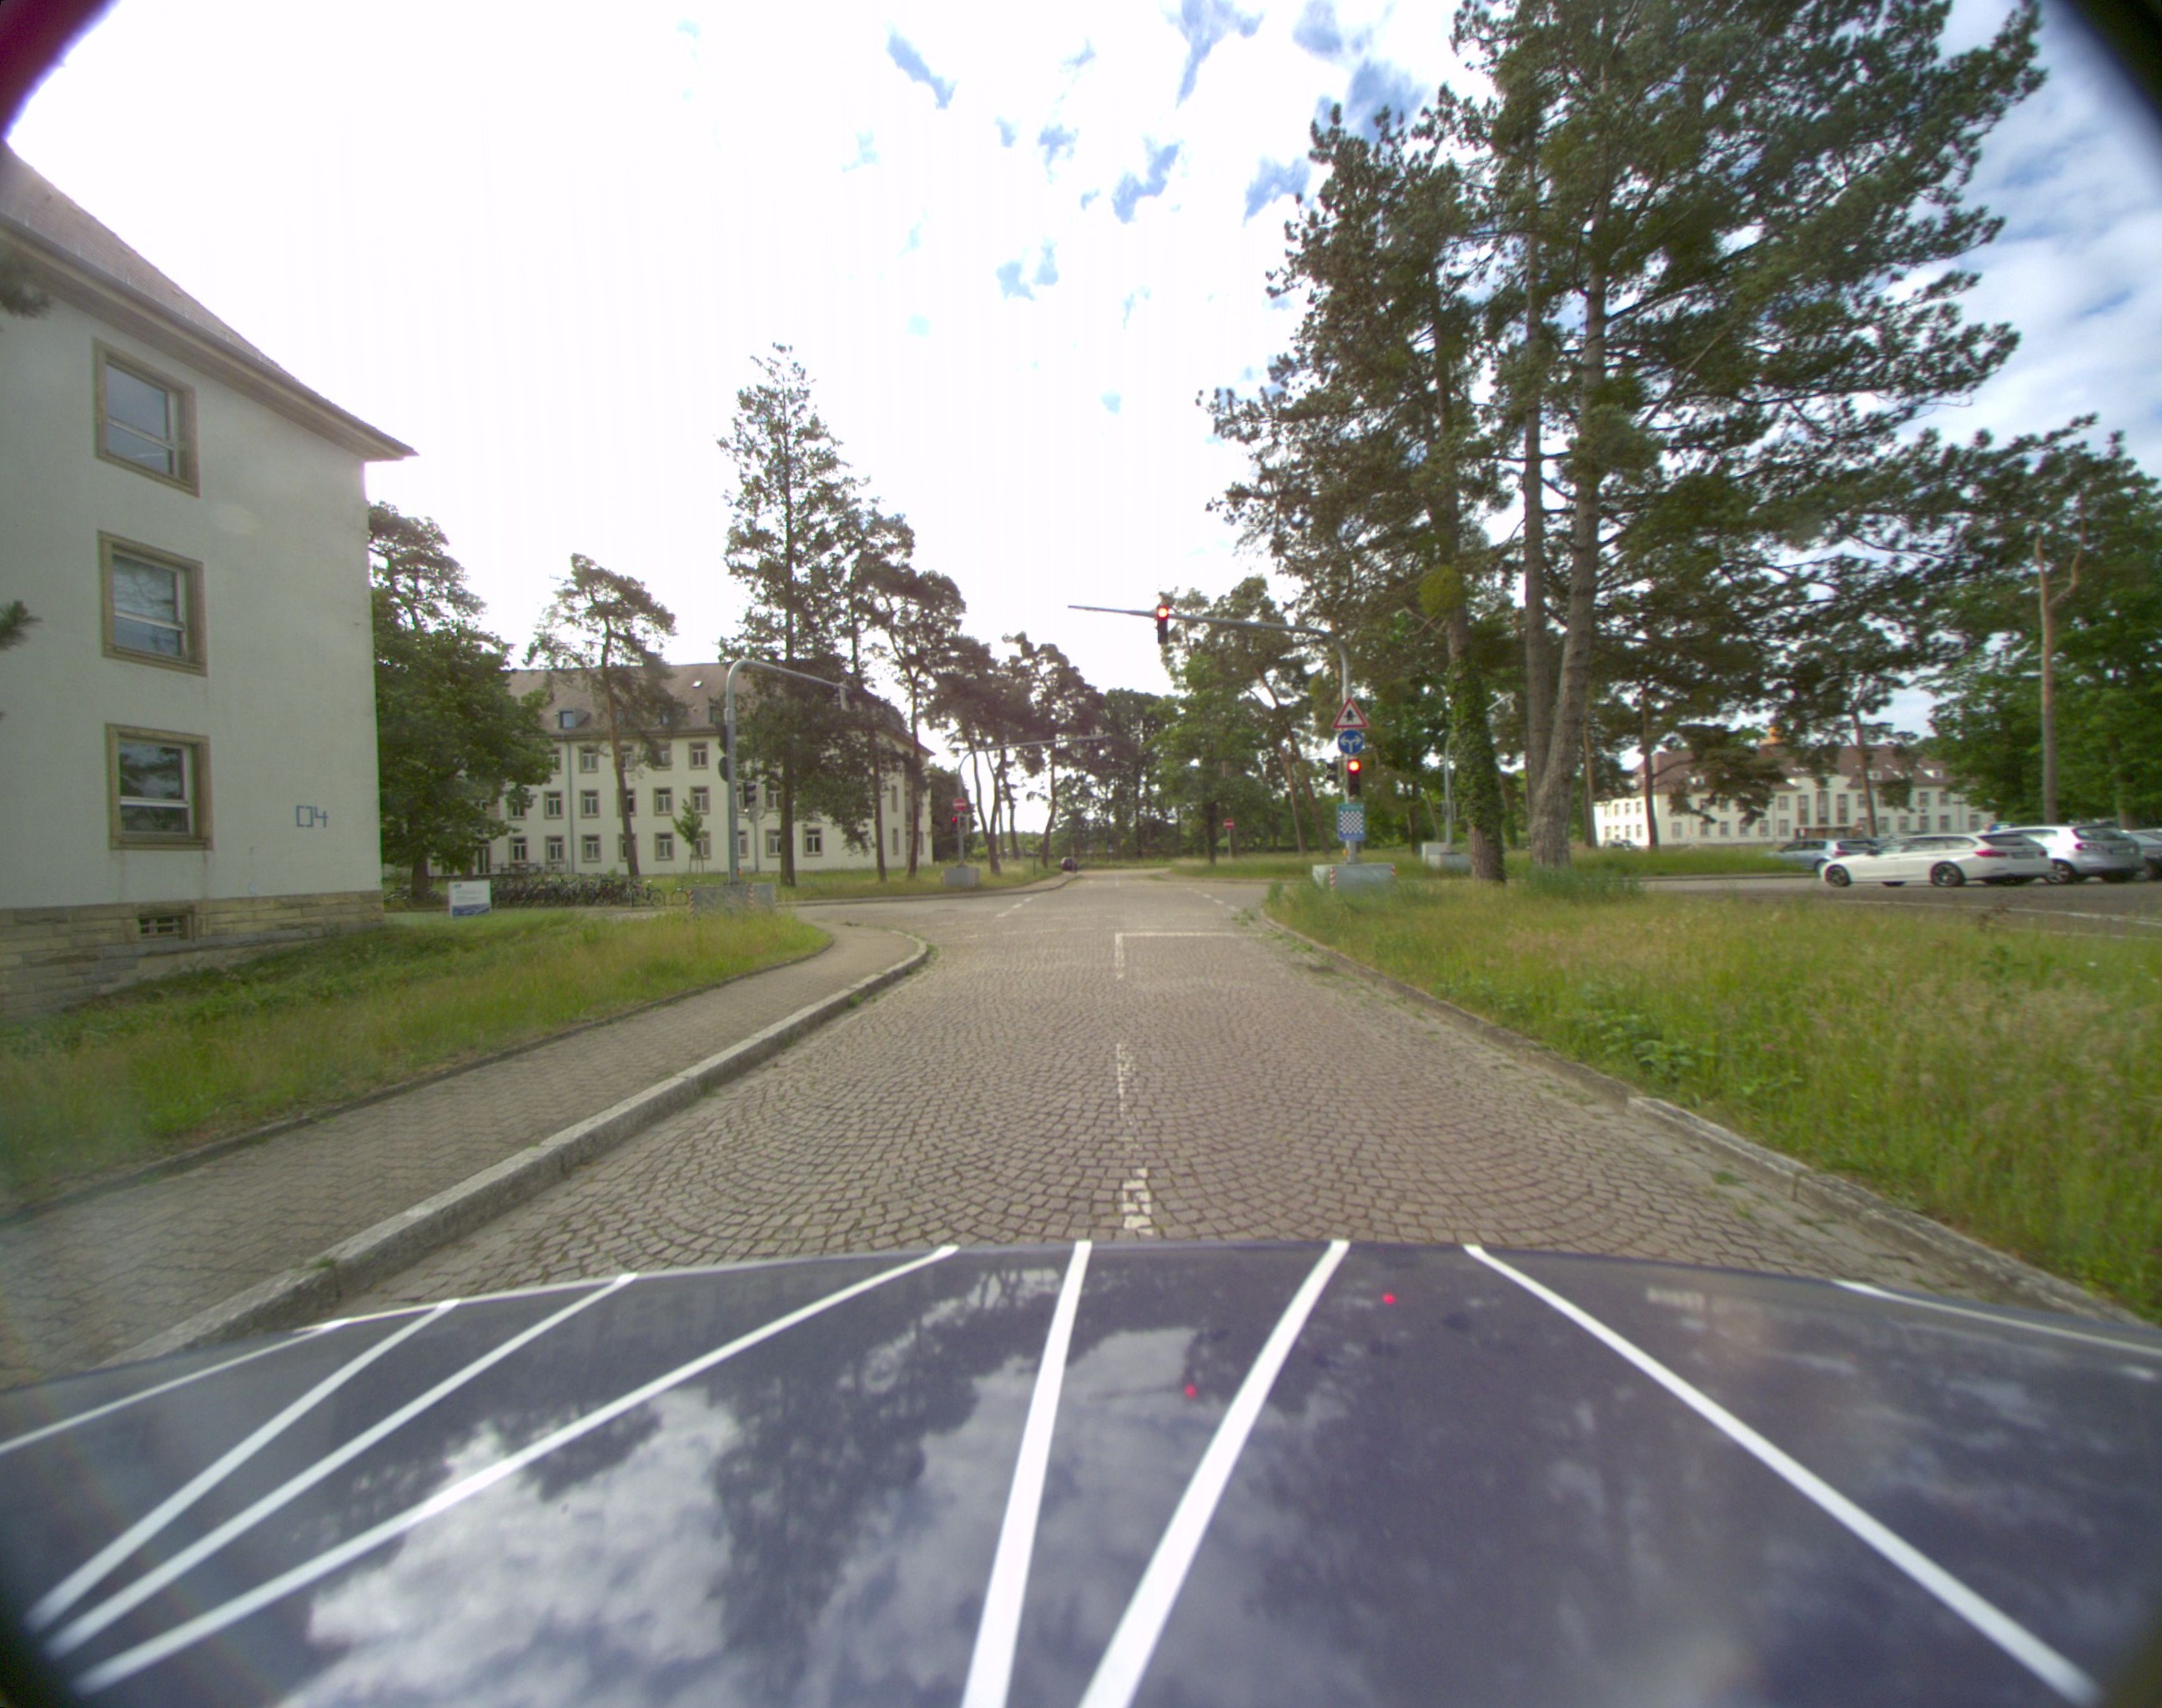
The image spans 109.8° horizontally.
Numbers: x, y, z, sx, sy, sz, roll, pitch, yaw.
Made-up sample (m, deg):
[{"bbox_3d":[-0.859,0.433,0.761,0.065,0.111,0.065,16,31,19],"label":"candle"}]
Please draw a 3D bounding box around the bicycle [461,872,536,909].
[{"bbox_3d":[-23.541,1.440,30.795,0.950,1.364,2.576,-2,0,2],"label":"bicycle"}]

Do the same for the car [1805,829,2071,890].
[{"bbox_3d":[23.315,0.236,21.046,1.912,1.430,4.824,-2,-2,1],"label":"car"}]

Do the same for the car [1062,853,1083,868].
[{"bbox_3d":[-0.886,0.733,85.456,1.998,1.524,4.001,-2,0,4],"label":"car"}]

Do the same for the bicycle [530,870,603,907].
[{"bbox_3d":[-20.840,1.376,30.880,0.950,1.364,2.812,-2,0,2],"label":"bicycle"}]

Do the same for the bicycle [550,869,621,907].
[{"bbox_3d":[-20.290,1.363,31.187,0.950,1.364,2.812,-2,0,2],"label":"bicycle"}]

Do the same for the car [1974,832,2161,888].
[{"bbox_3d":[28.628,0.121,21.252,1.883,1.414,4.635,-2,0,1],"label":"car"}]

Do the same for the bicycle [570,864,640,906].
[{"bbox_3d":[-19.371,1.233,31.020,0.950,1.574,2.812,-2,0,2],"label":"bicycle"}]

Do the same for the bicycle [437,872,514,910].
[{"bbox_3d":[-24.386,1.467,30.663,0.950,1.364,2.576,-2,0,2],"label":"bicycle"}]

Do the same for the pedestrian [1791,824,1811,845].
[{"bbox_3d":[75.871,-2.080,80.080,1.055,2.165,1.185,-2,1,3],"label":"pedestrian"}]

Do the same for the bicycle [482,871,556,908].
[{"bbox_3d":[-22.702,1.411,30.776,0.950,1.364,2.576,-2,0,2],"label":"bicycle"}]

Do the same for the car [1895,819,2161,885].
[{"bbox_3d":[25.917,0.009,21.040,1.846,1.580,4.488,-2,-1,-1],"label":"car"}]

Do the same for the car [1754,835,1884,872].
[{"bbox_3d":[30.920,-0.033,32.011,1.795,1.410,4.001,-2,0,4],"label":"car"}]

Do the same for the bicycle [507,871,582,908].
[{"bbox_3d":[-21.733,1.407,30.886,0.950,1.364,2.812,-2,0,2],"label":"bicycle"}]

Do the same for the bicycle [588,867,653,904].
[{"bbox_3d":[-18.520,1.225,30.639,0.873,1.359,2.628,-2,0,2],"label":"bicycle"}]

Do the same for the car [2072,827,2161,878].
[{"bbox_3d":[31.302,-0.059,21.347,1.679,1.447,3.986,-2,0,-1],"label":"car"}]

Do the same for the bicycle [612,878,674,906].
[{"bbox_3d":[-16.699,1.457,28.989,1.976,0.990,0.730,-2,0,7],"label":"bicycle"}]

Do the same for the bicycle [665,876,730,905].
[{"bbox_3d":[-14.608,1.383,28.982,1.977,0.990,0.903,-2,0,2],"label":"bicycle"}]

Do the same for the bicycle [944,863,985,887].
[{"bbox_3d":[-5.527,0.990,36.144,1.832,1.057,0.646,-2,4,-1],"label":"bicycle"}]

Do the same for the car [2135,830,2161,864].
[{"bbox_3d":[46.275,-0.319,30.782,1.795,1.427,3.937,-2,0,4],"label":"car"}]

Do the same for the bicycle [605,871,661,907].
[{"bbox_3d":[-17.915,1.375,30.427,0.873,1.299,2.120,-2,0,2],"label":"bicycle"}]
